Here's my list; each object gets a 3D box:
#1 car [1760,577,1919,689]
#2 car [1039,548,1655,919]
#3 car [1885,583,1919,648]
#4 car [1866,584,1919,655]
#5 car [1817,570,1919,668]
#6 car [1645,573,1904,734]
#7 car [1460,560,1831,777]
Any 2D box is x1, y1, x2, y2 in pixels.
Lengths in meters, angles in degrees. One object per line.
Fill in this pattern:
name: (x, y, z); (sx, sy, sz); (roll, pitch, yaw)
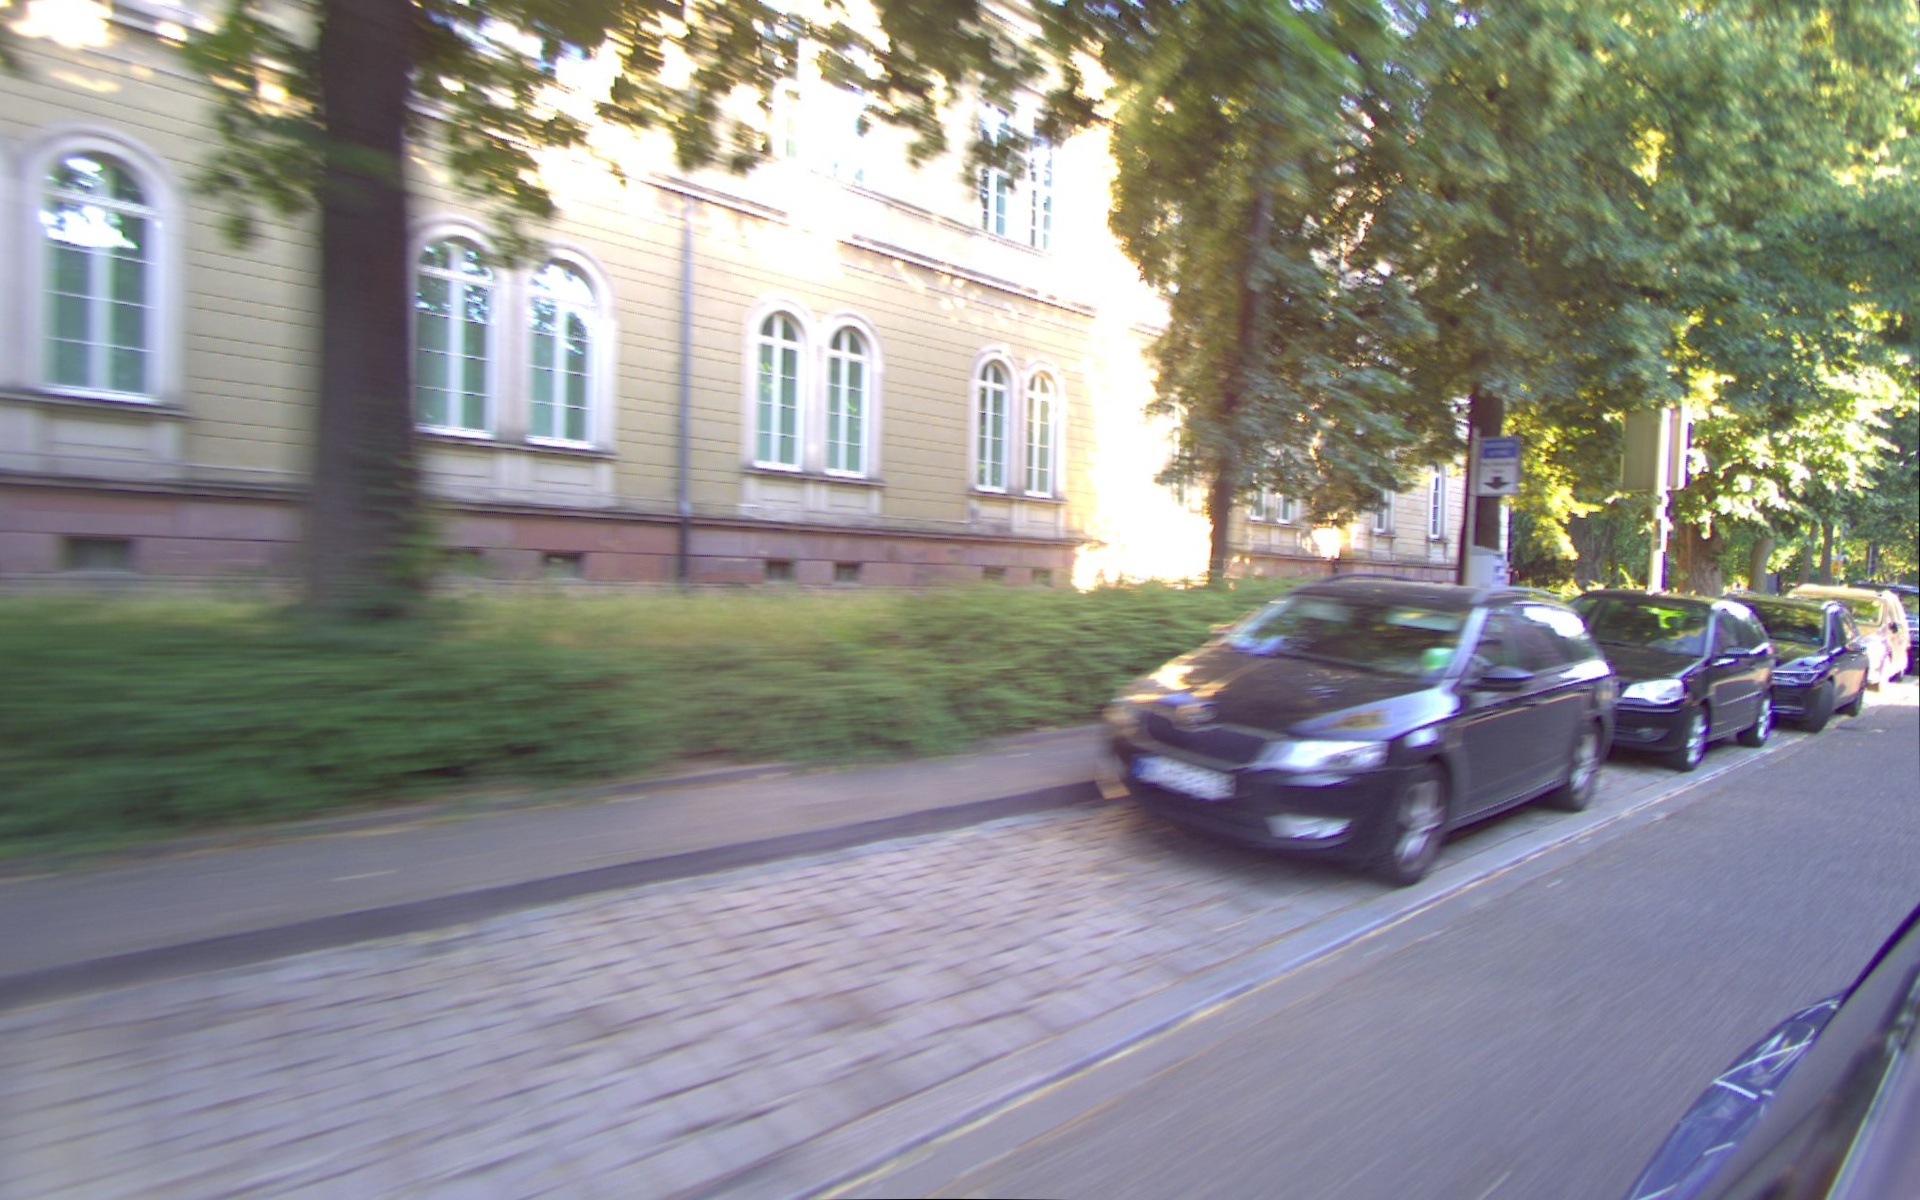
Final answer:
car: (15.712, 0.468, 17.856); (4.422, 1.703, 1.727); (-1, 3, -42)
car: (2.670, 0.492, 6.336); (4.445, 1.525, 1.738); (-1, 3, -42)
car: (27.755, 0.416, 28.579); (4.614, 1.708, 1.885); (-1, 3, -41)
car: (24.037, 0.457, 25.316); (3.904, 1.608, 1.726); (-1, 3, -44)
car: (19.944, 0.325, 21.420); (4.858, 1.835, 1.810); (-1, 3, -39)
car: (10.501, 0.527, 12.922); (4.544, 1.551, 1.728); (-1, 7, -42)
car: (6.732, 0.490, 9.791); (4.114, 1.551, 1.730); (-1, 6, -39)
